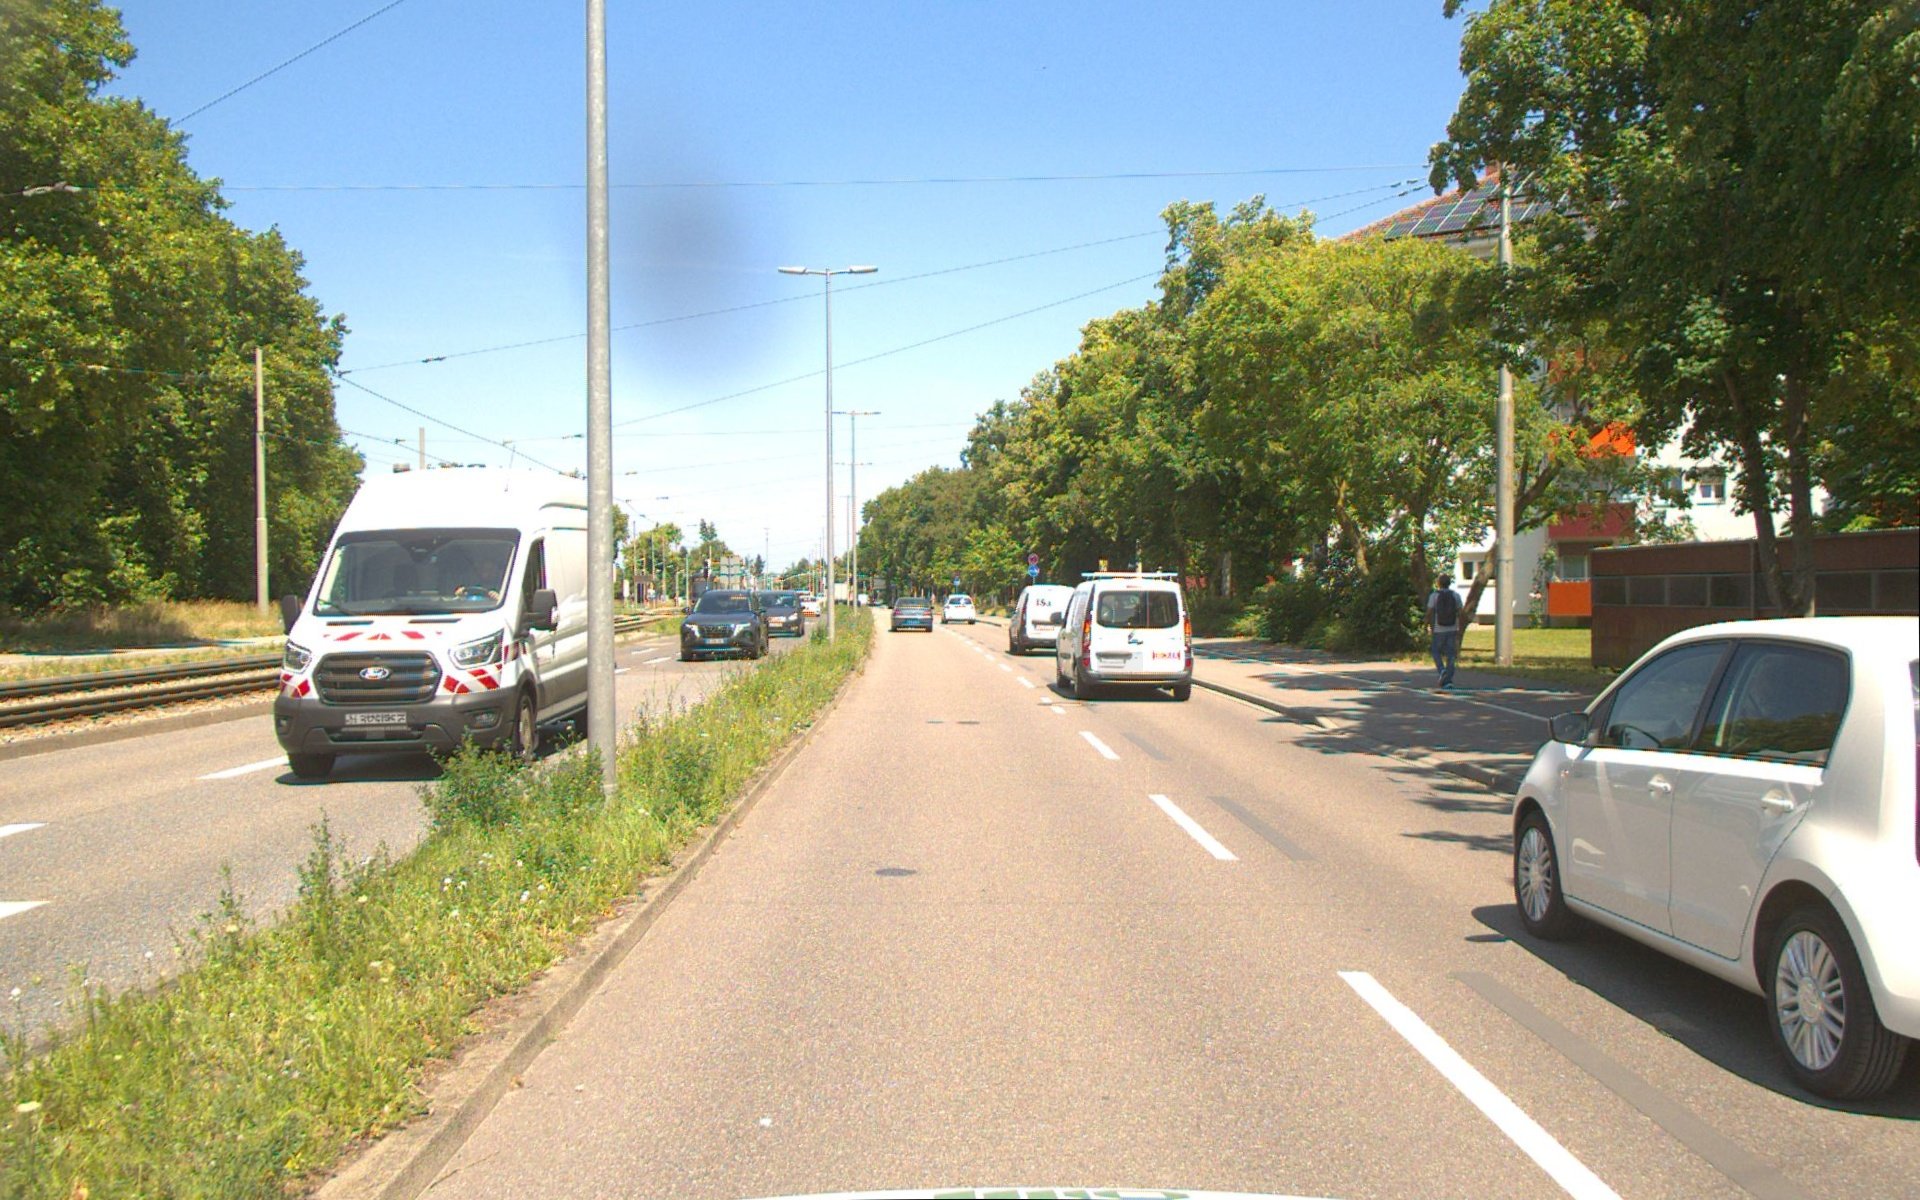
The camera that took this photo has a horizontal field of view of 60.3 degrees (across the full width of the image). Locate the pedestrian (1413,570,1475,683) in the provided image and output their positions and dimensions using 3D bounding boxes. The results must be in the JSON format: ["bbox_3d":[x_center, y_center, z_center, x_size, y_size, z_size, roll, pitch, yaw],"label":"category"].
[{"bbox_3d":[7.246,0.389,24.770,0.655,1.672,0.856,0,0,-2],"label":"pedestrian"}]

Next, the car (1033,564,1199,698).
[{"bbox_3d":[2.361,0.448,26.108,1.789,1.915,4.450,1,0,-6],"label":"car"}]

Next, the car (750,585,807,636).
[{"bbox_3d":[-6.692,0.358,61.329,1.793,1.743,4.790,-2,0,-3],"label":"car"}]

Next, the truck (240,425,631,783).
[{"bbox_3d":[-4.735,0.004,15.974,2.039,2.796,5.545,-2,0,-1],"label":"truck"}]

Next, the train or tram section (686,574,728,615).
[{"bbox_3d":[-25.674,-0.486,169.429,2.734,3.732,37.465,0,0,-6],"label":"train or tram section"}]

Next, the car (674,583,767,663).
[{"bbox_3d":[-5.781,0.513,40.352,1.793,1.787,4.485,-2,0,-3],"label":"car"}]

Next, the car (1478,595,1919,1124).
[{"bbox_3d":[3.484,0.733,6.545,1.625,1.475,3.854,1,0,-1],"label":"car"}]

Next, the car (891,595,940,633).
[{"bbox_3d":[-1.873,0.572,68.379,1.767,1.512,3.995,0,0,-6],"label":"car"}]

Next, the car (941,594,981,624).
[{"bbox_3d":[0.048,0.496,88.827,1.768,1.567,3.995,0,0,-6],"label":"car"}]

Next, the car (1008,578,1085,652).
[{"bbox_3d":[2.246,0.359,43.799,1.693,1.845,3.999,1,0,-2],"label":"car"}]

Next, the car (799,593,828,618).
[{"bbox_3d":[-10.547,0.389,119.412,1.793,1.769,4.036,-2,0,-2],"label":"car"}]
